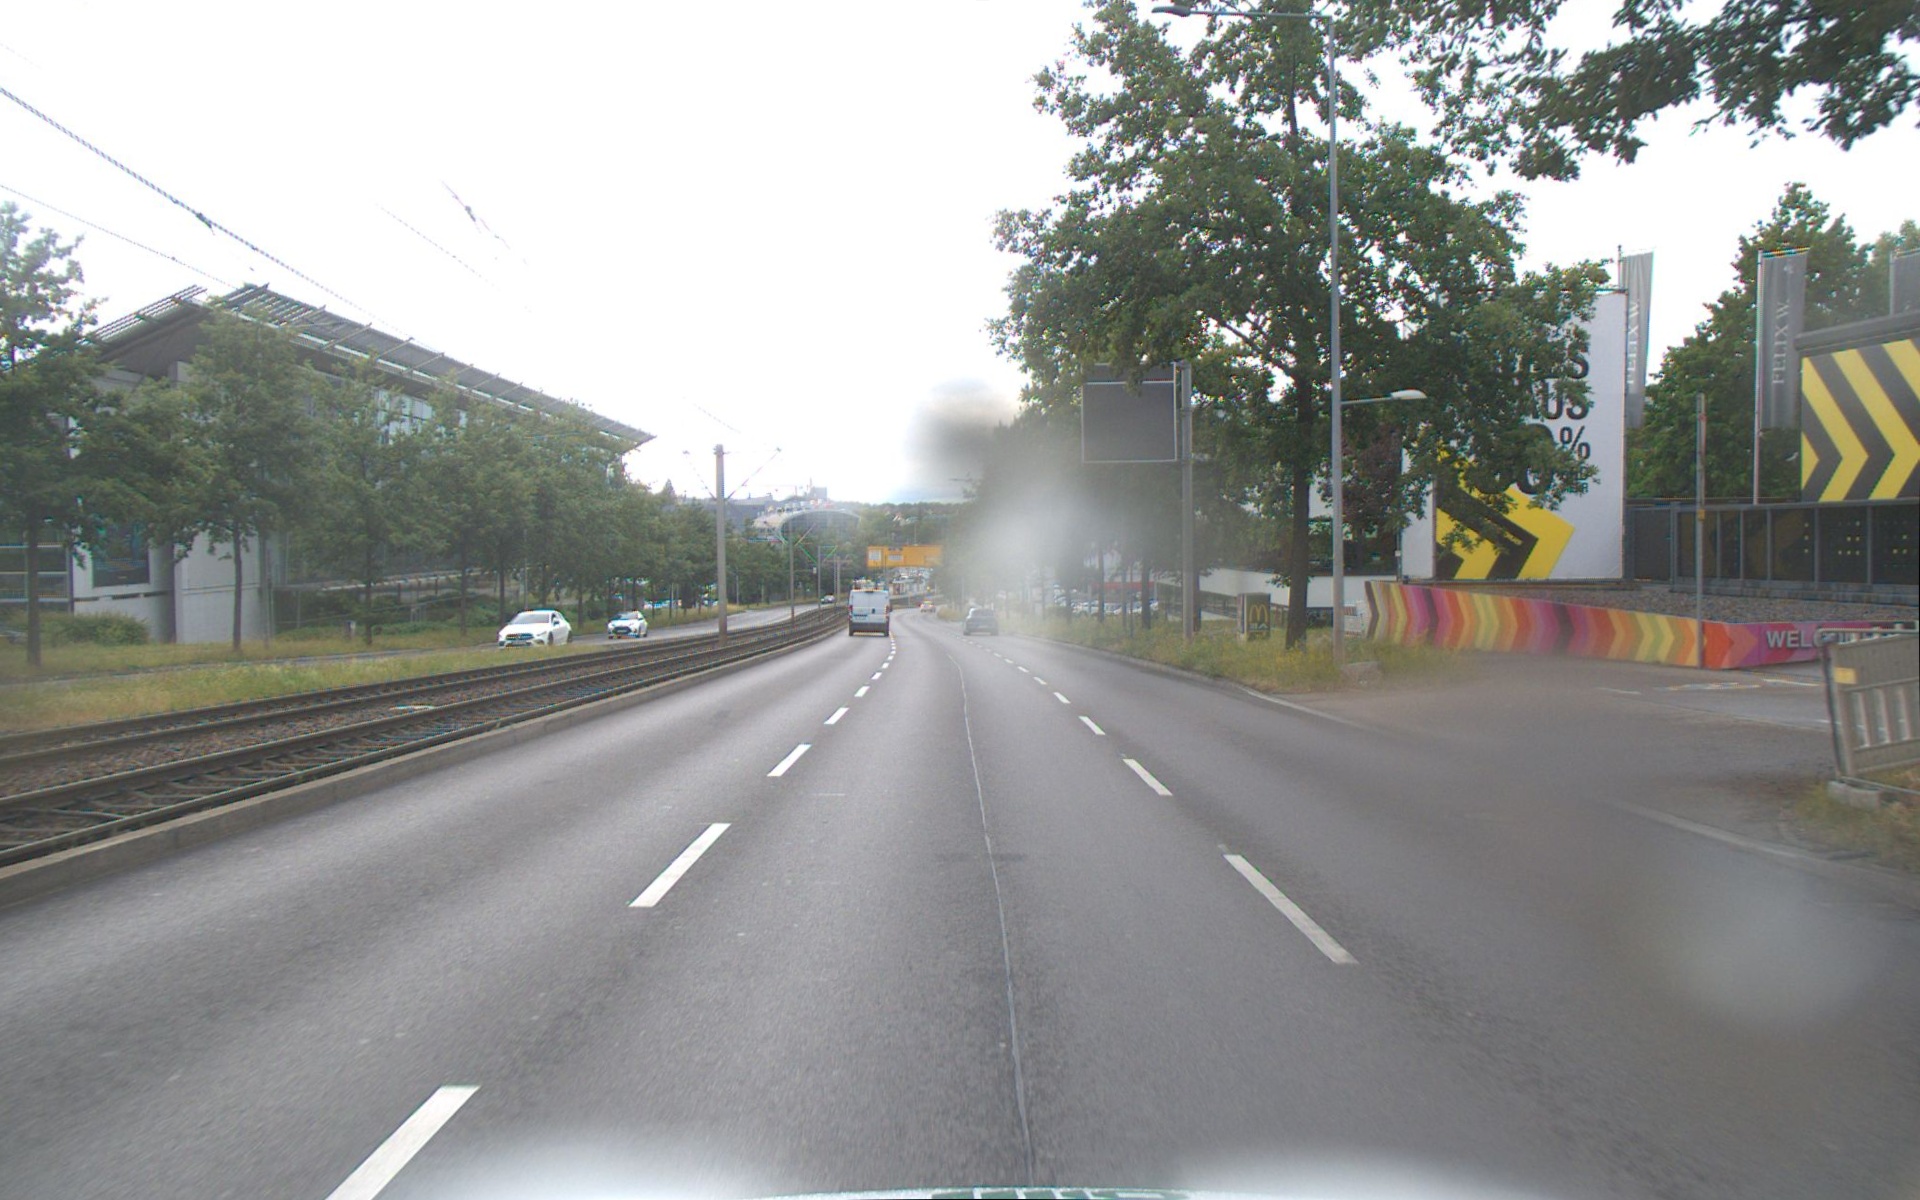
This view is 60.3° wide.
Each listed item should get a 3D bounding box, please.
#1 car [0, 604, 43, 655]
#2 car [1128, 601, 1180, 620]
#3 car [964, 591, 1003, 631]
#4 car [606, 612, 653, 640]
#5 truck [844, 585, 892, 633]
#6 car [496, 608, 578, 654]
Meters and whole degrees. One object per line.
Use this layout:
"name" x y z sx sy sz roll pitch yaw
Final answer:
"car" -37.311 1.075 62.747 3.987 1.869 1.862 1 -1 1
"car" 15.196 0.845 129.902 3.904 1.378 2.000 1 0 2
"car" 1.216 0.570 88.554 1.953 2.049 3.933 1 0 -1
"car" -18.431 1.424 92.322 1.842 1.473 4.137 -1 0 -1
"truck" -4.589 0.469 83.093 2.313 2.301 5.302 1 0 -3
"car" -15.203 1.092 59.618 1.800 1.469 4.428 -2 0 -1
